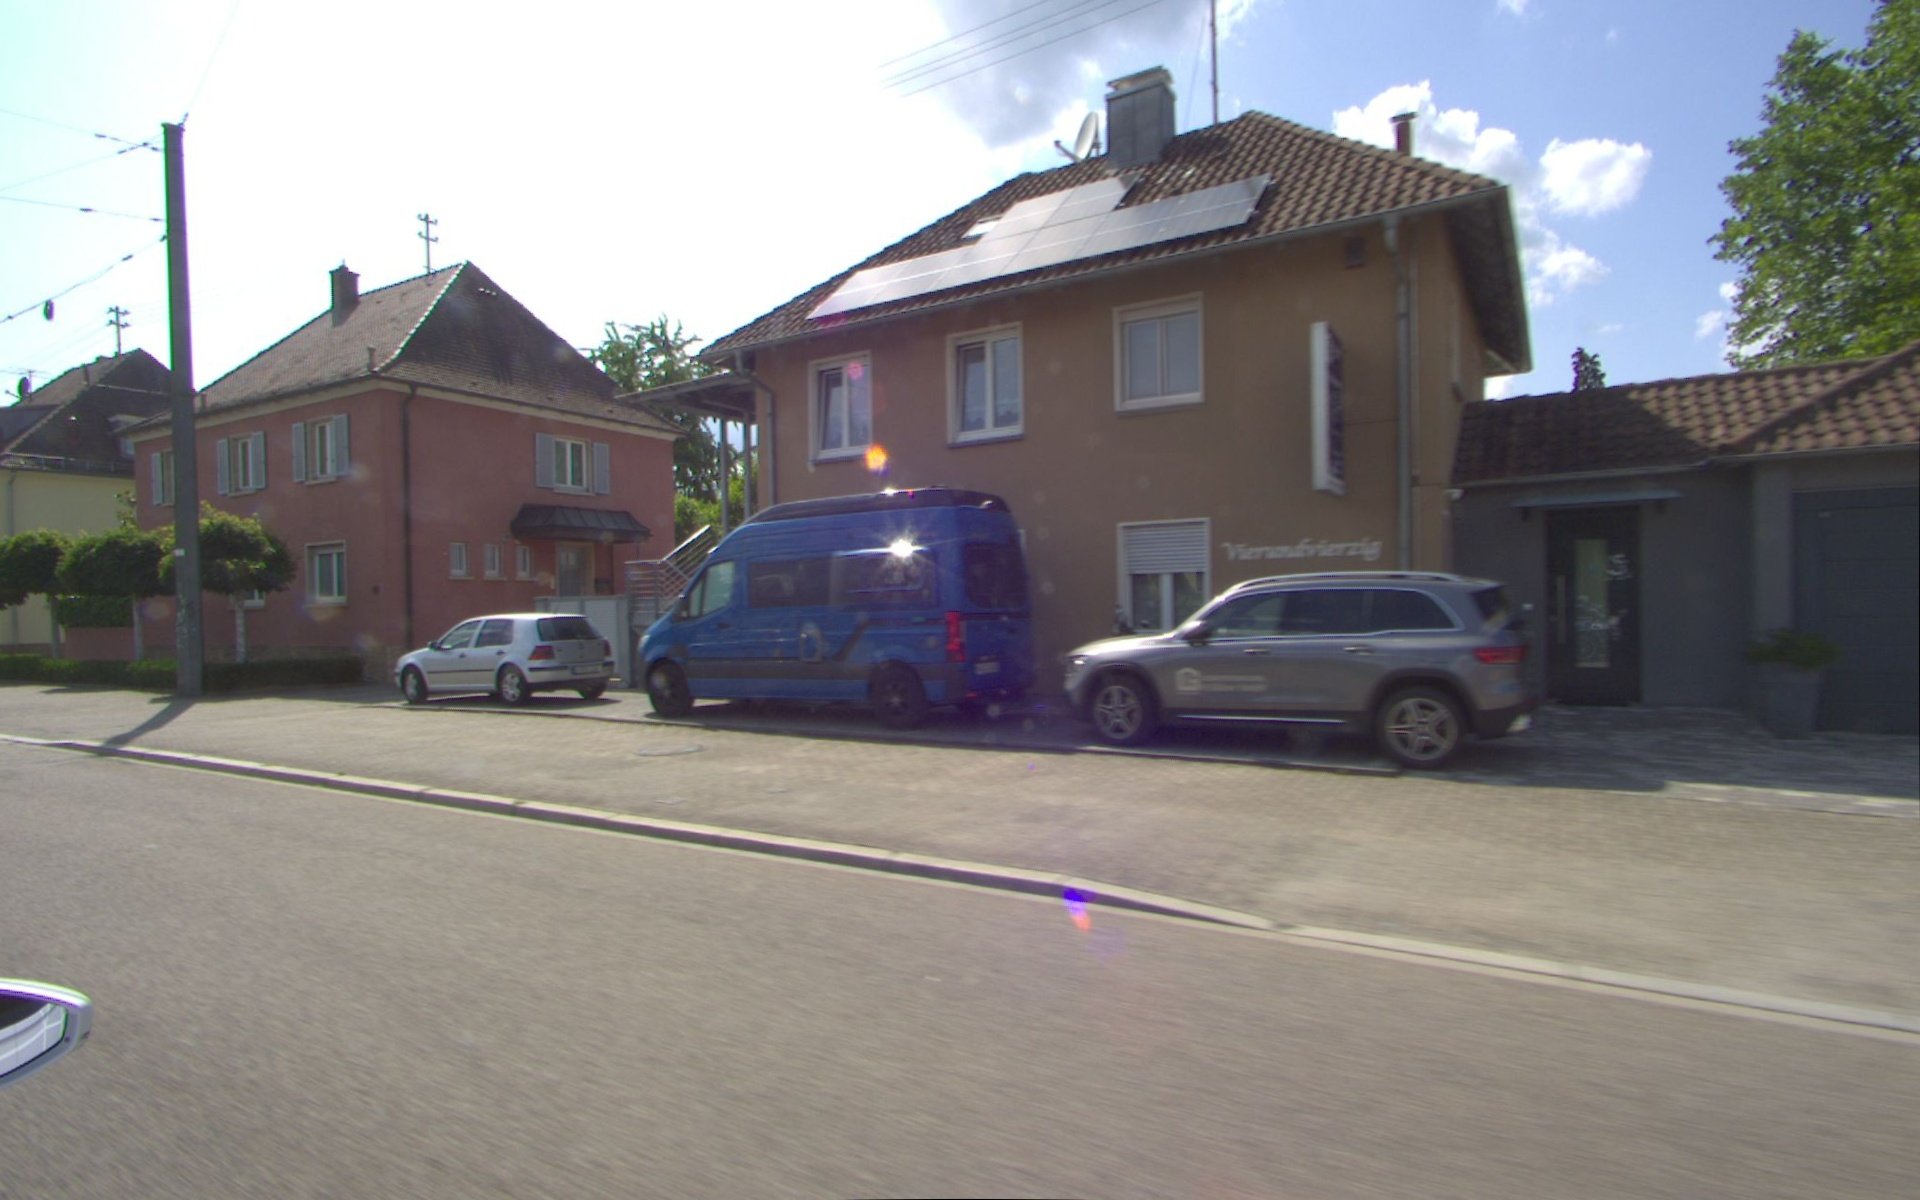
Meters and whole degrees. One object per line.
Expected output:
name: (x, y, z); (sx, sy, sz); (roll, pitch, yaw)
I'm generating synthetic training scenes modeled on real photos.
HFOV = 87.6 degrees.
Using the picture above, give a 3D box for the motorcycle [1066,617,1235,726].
motorcycle: (2.347, 0.840, 12.424); (1.939, 1.249, 0.690); (0, 1, 32)

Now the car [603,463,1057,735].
car: (-1.930, 0.092, 13.502); (6.156, 2.967, 2.148); (-1, -2, 33)

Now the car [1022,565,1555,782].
car: (3.166, 0.585, 10.029); (4.793, 1.735, 1.832); (0, 2, 32)

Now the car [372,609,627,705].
car: (-7.812, 0.913, 16.908); (4.283, 1.428, 1.647); (-1, 0, 28)
